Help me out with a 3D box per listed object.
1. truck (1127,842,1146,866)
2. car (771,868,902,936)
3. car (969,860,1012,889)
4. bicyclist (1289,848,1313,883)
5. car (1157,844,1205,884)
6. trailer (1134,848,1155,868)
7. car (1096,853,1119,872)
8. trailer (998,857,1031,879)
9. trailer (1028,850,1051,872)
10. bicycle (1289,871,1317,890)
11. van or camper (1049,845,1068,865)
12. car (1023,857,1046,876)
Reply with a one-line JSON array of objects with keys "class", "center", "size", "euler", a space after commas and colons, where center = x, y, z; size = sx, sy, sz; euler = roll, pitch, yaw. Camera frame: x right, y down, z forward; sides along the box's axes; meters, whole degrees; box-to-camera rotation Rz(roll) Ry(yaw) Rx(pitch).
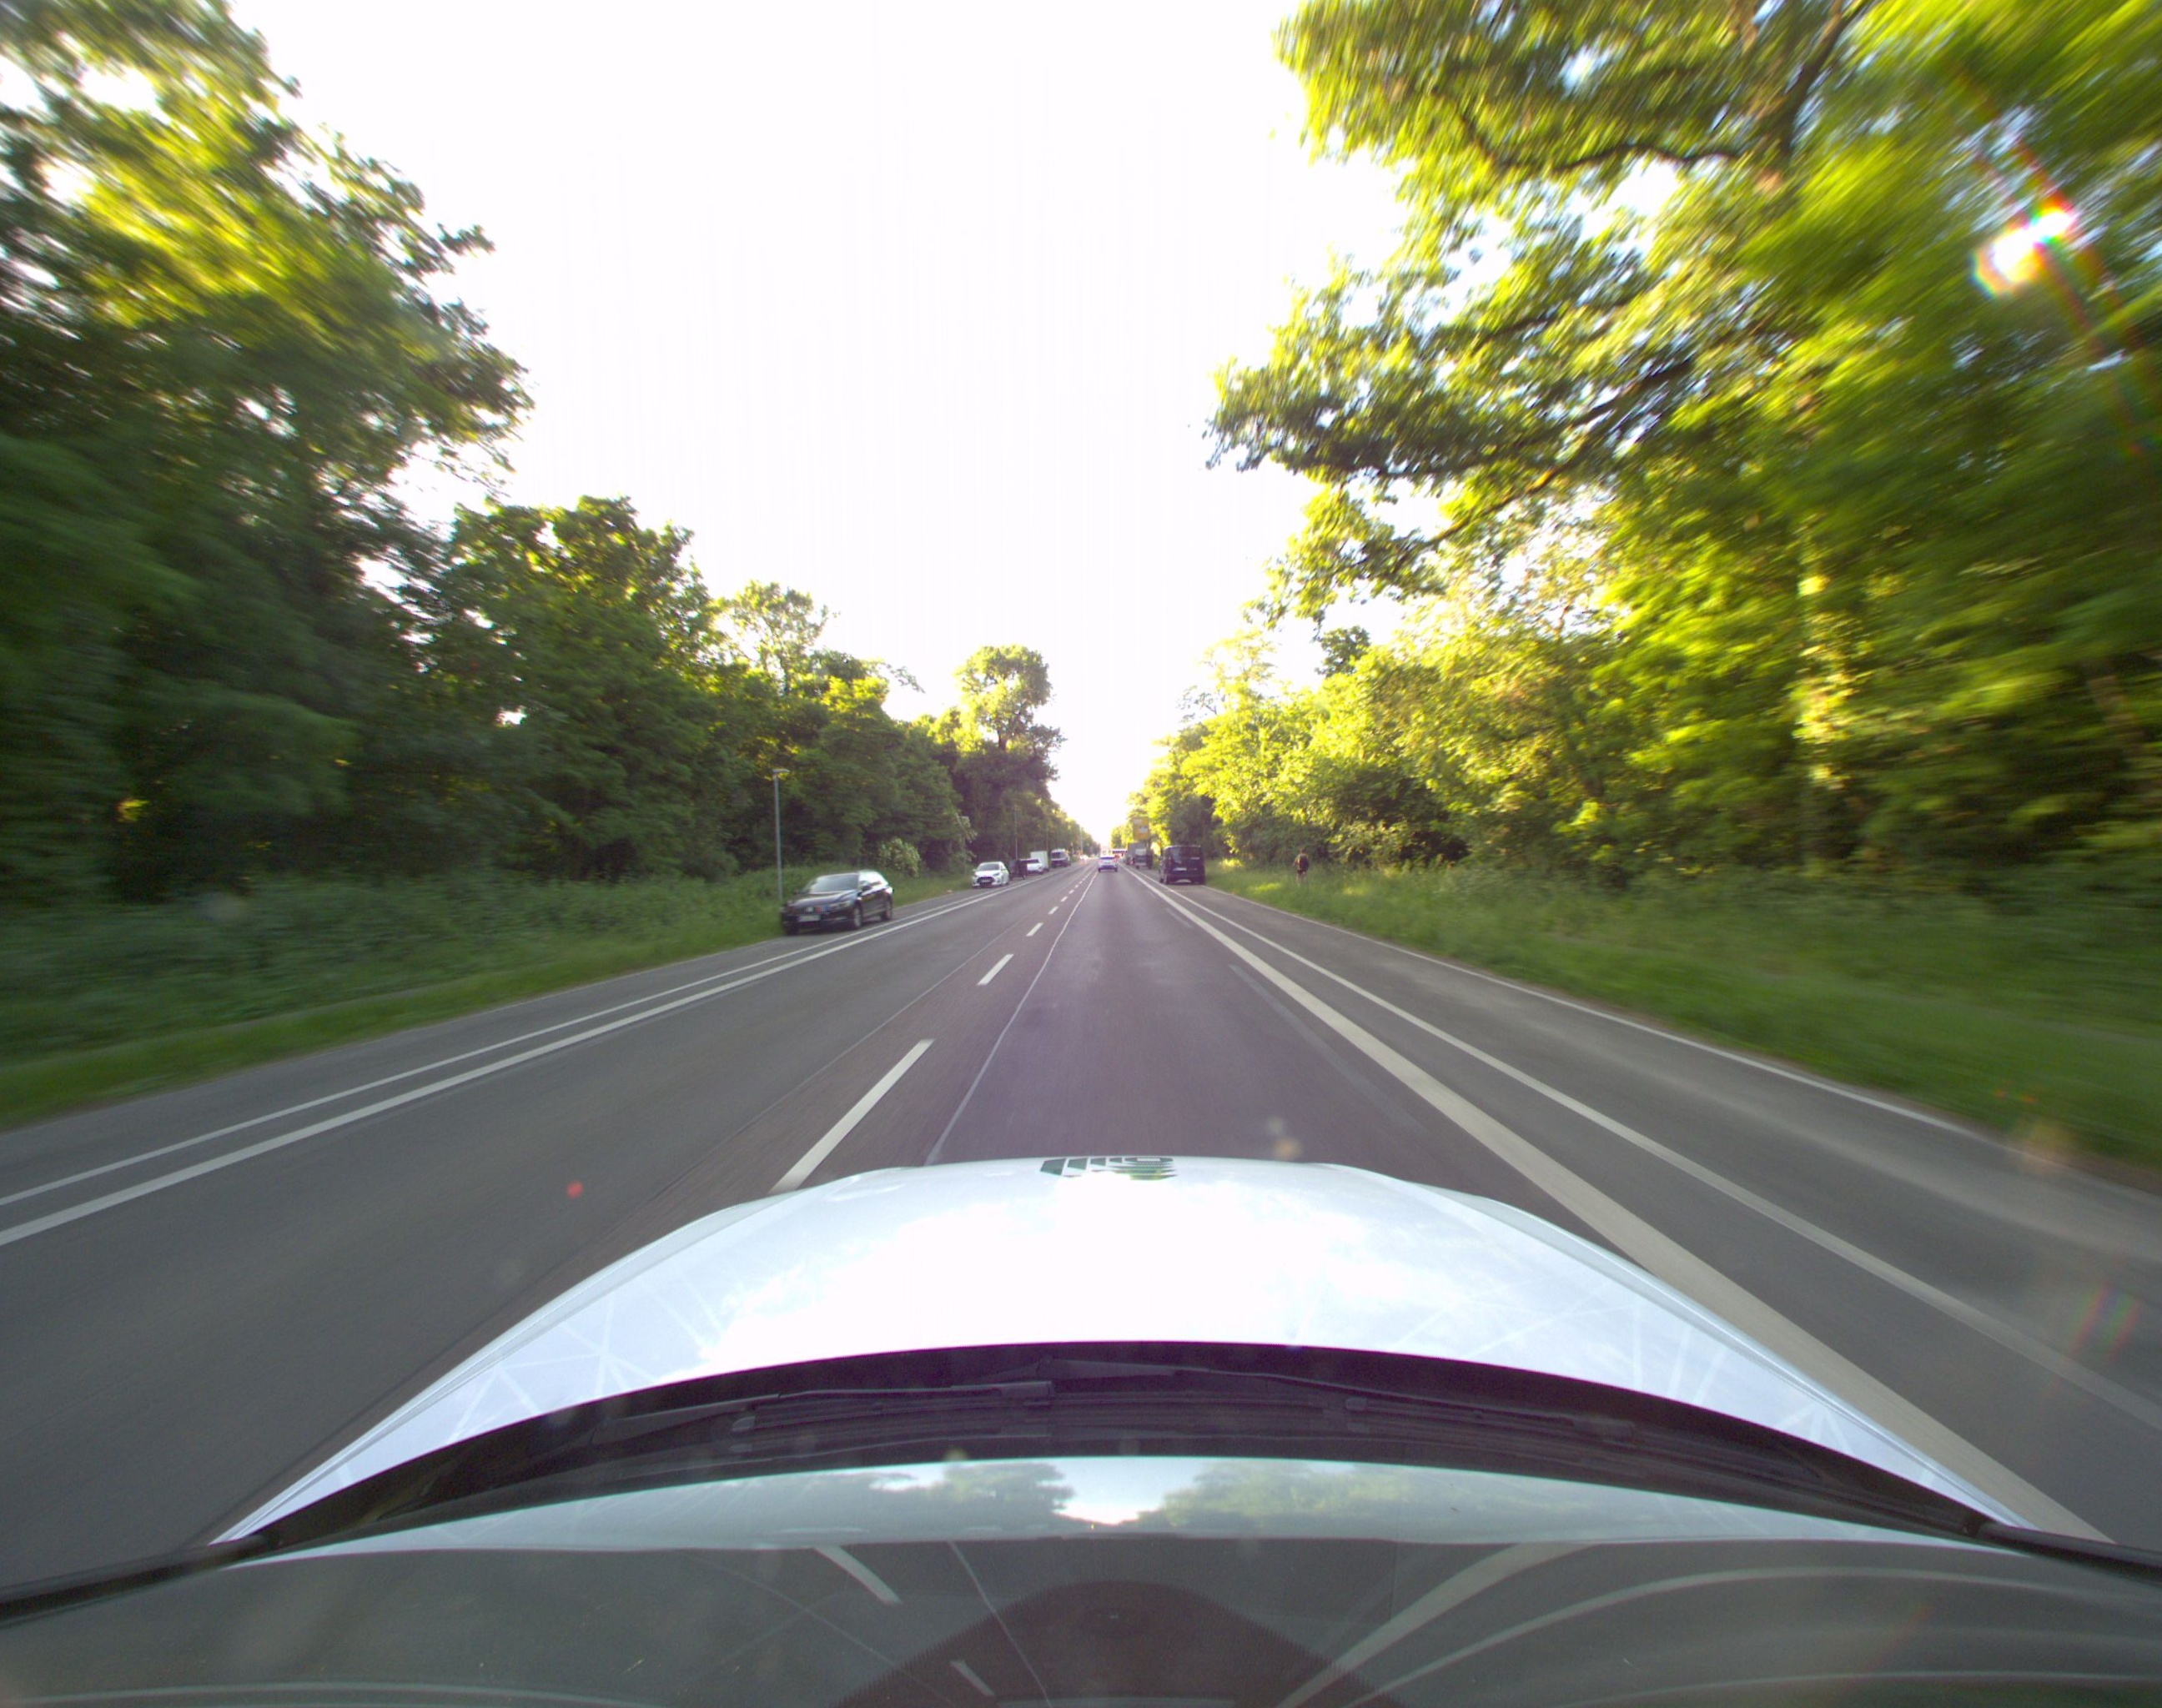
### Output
[{"class": "truck", "center": [7.882, 0.051, 116.967], "size": [2.495, 3.366, 7.111], "euler": [-1, 0, 2]}, {"class": "car", "center": [-6.278, 1.177, 21.566], "size": [1.848, 1.464, 4.786], "euler": [-2, 0, 2]}, {"class": "car", "center": [-5.281, 1.174, 48.256], "size": [1.860, 1.450, 4.073], "euler": [-4, 0, 2]}, {"class": "bicyclist", "center": [8.632, 0.440, 31.995], "size": [0.608, 1.324, 1.176], "euler": [-1, 0, 2]}, {"class": "car", "center": [5.214, 0.494, 43.098], "size": [2.105, 2.013, 5.042], "euler": [0, 0, 2]}, {"class": "trailer", "center": [6.802, 0.462, 87.245], "size": [1.600, 2.112, 2.409], "euler": [-1, 0, 22]}, {"class": "car", "center": [2.485, 0.774, 75.833], "size": [1.986, 1.640, 4.002], "euler": [-2, 0, 2]}, {"class": "trailer", "center": [-5.033, 1.037, 61.516], "size": [1.383, 1.574, 2.689], "euler": [-2, 0, 22]}, {"class": "trailer", "center": [-4.526, 0.750, 89.817], "size": [2.066, 2.293, 3.490], "euler": [-3, 0, 4]}, {"class": "bicycle", "center": [8.698, 1.025, 31.996], "size": [0.589, 0.692, 1.997], "euler": [-1, 0, 2]}, {"class": "van or camper", "center": [-3.271, 0.197, 120.462], "size": [2.293, 2.768, 5.559], "euler": [-4, 0, 2]}, {"class": "car", "center": [-4.345, 1.122, 76.161], "size": [1.808, 1.571, 4.206], "euler": [-4, 0, 0]}]
